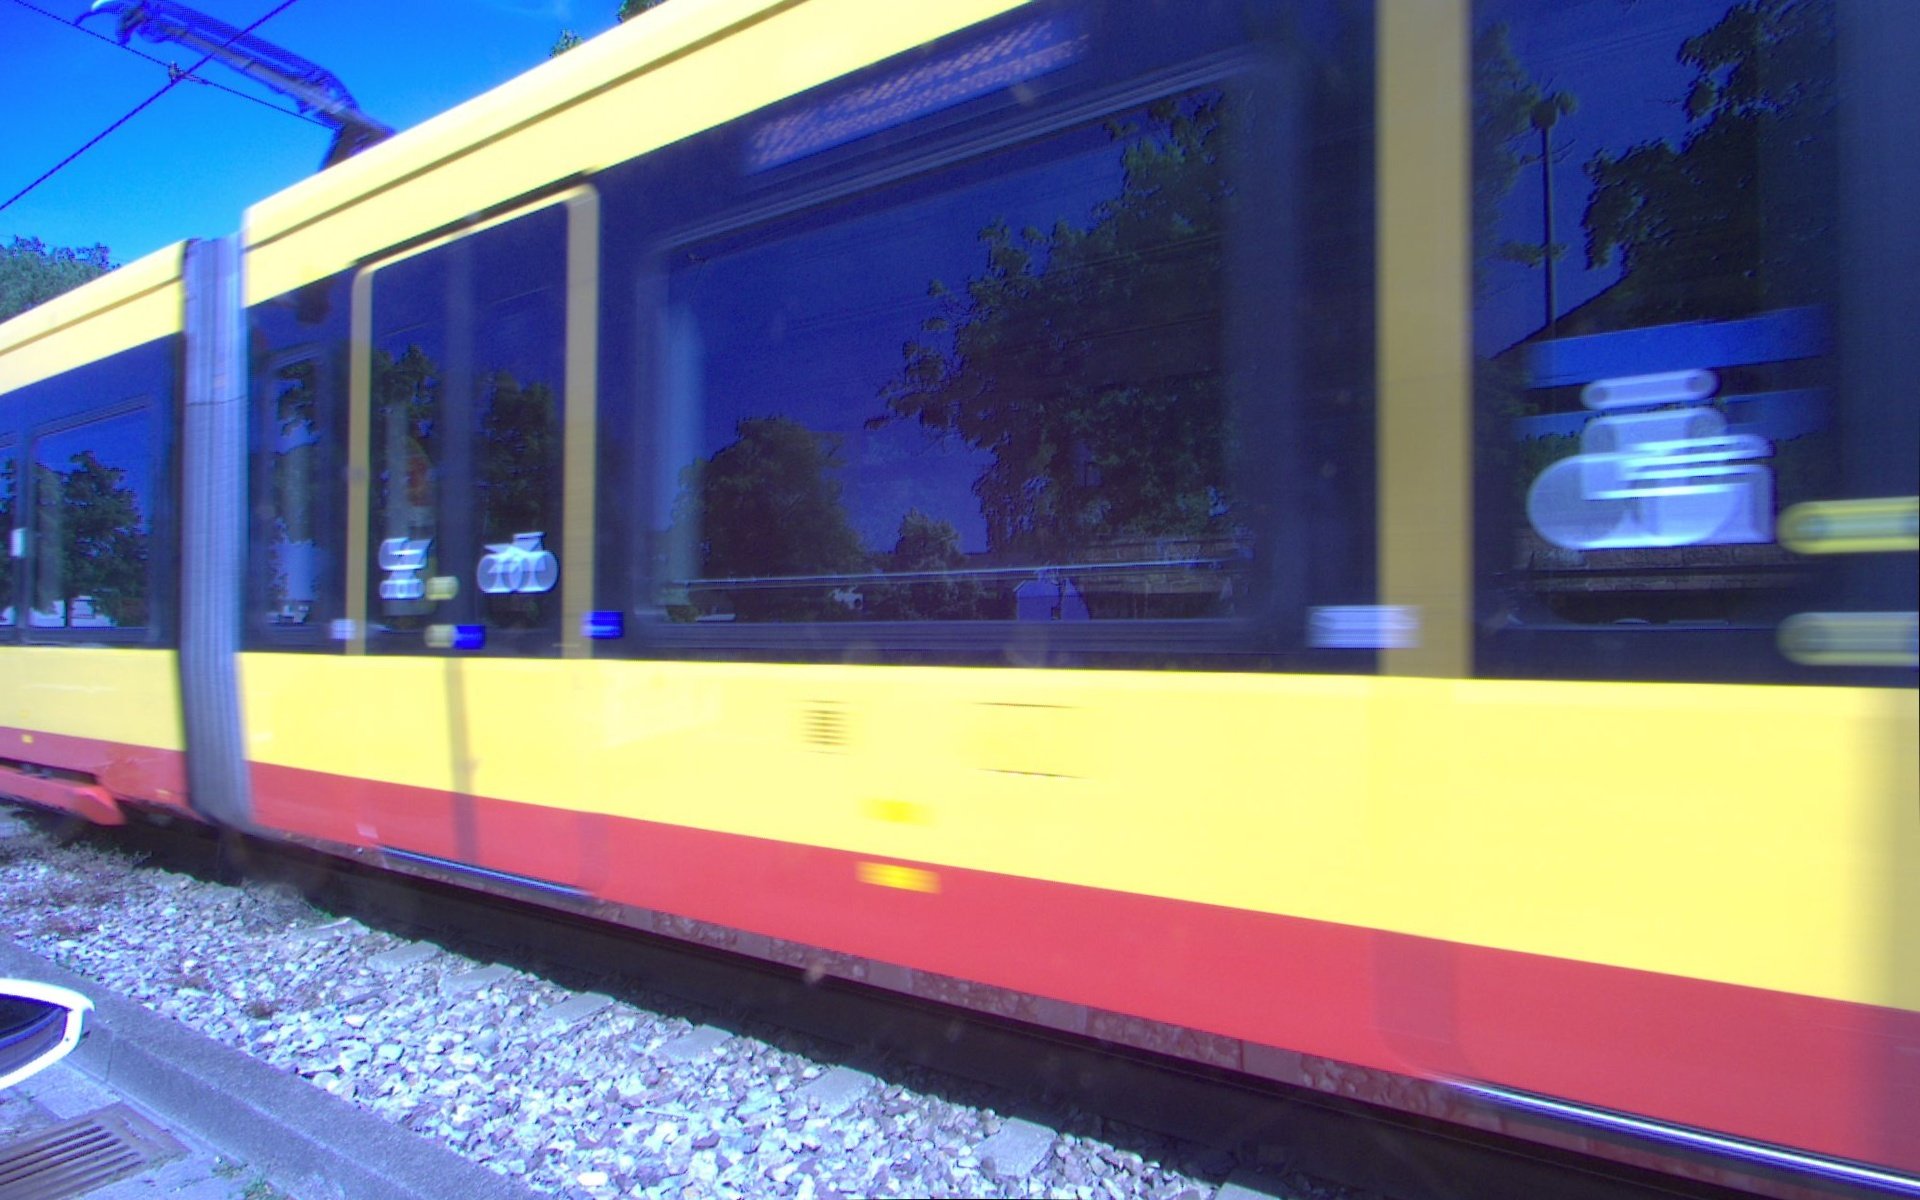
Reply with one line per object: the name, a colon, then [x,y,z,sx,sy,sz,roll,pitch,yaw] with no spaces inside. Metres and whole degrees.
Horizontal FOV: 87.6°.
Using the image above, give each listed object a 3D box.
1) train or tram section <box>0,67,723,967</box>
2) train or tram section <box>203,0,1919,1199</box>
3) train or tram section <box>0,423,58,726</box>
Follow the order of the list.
train or tram section: [-7.540,-0.283,8.859,12.214,3.907,2.864,-1,1,32]
train or tram section: [2.577,-0.525,2.400,12.214,3.907,2.864,-1,1,32]
train or tram section: [-17.351,-0.262,14.595,10.375,3.907,2.867,-1,1,28]
